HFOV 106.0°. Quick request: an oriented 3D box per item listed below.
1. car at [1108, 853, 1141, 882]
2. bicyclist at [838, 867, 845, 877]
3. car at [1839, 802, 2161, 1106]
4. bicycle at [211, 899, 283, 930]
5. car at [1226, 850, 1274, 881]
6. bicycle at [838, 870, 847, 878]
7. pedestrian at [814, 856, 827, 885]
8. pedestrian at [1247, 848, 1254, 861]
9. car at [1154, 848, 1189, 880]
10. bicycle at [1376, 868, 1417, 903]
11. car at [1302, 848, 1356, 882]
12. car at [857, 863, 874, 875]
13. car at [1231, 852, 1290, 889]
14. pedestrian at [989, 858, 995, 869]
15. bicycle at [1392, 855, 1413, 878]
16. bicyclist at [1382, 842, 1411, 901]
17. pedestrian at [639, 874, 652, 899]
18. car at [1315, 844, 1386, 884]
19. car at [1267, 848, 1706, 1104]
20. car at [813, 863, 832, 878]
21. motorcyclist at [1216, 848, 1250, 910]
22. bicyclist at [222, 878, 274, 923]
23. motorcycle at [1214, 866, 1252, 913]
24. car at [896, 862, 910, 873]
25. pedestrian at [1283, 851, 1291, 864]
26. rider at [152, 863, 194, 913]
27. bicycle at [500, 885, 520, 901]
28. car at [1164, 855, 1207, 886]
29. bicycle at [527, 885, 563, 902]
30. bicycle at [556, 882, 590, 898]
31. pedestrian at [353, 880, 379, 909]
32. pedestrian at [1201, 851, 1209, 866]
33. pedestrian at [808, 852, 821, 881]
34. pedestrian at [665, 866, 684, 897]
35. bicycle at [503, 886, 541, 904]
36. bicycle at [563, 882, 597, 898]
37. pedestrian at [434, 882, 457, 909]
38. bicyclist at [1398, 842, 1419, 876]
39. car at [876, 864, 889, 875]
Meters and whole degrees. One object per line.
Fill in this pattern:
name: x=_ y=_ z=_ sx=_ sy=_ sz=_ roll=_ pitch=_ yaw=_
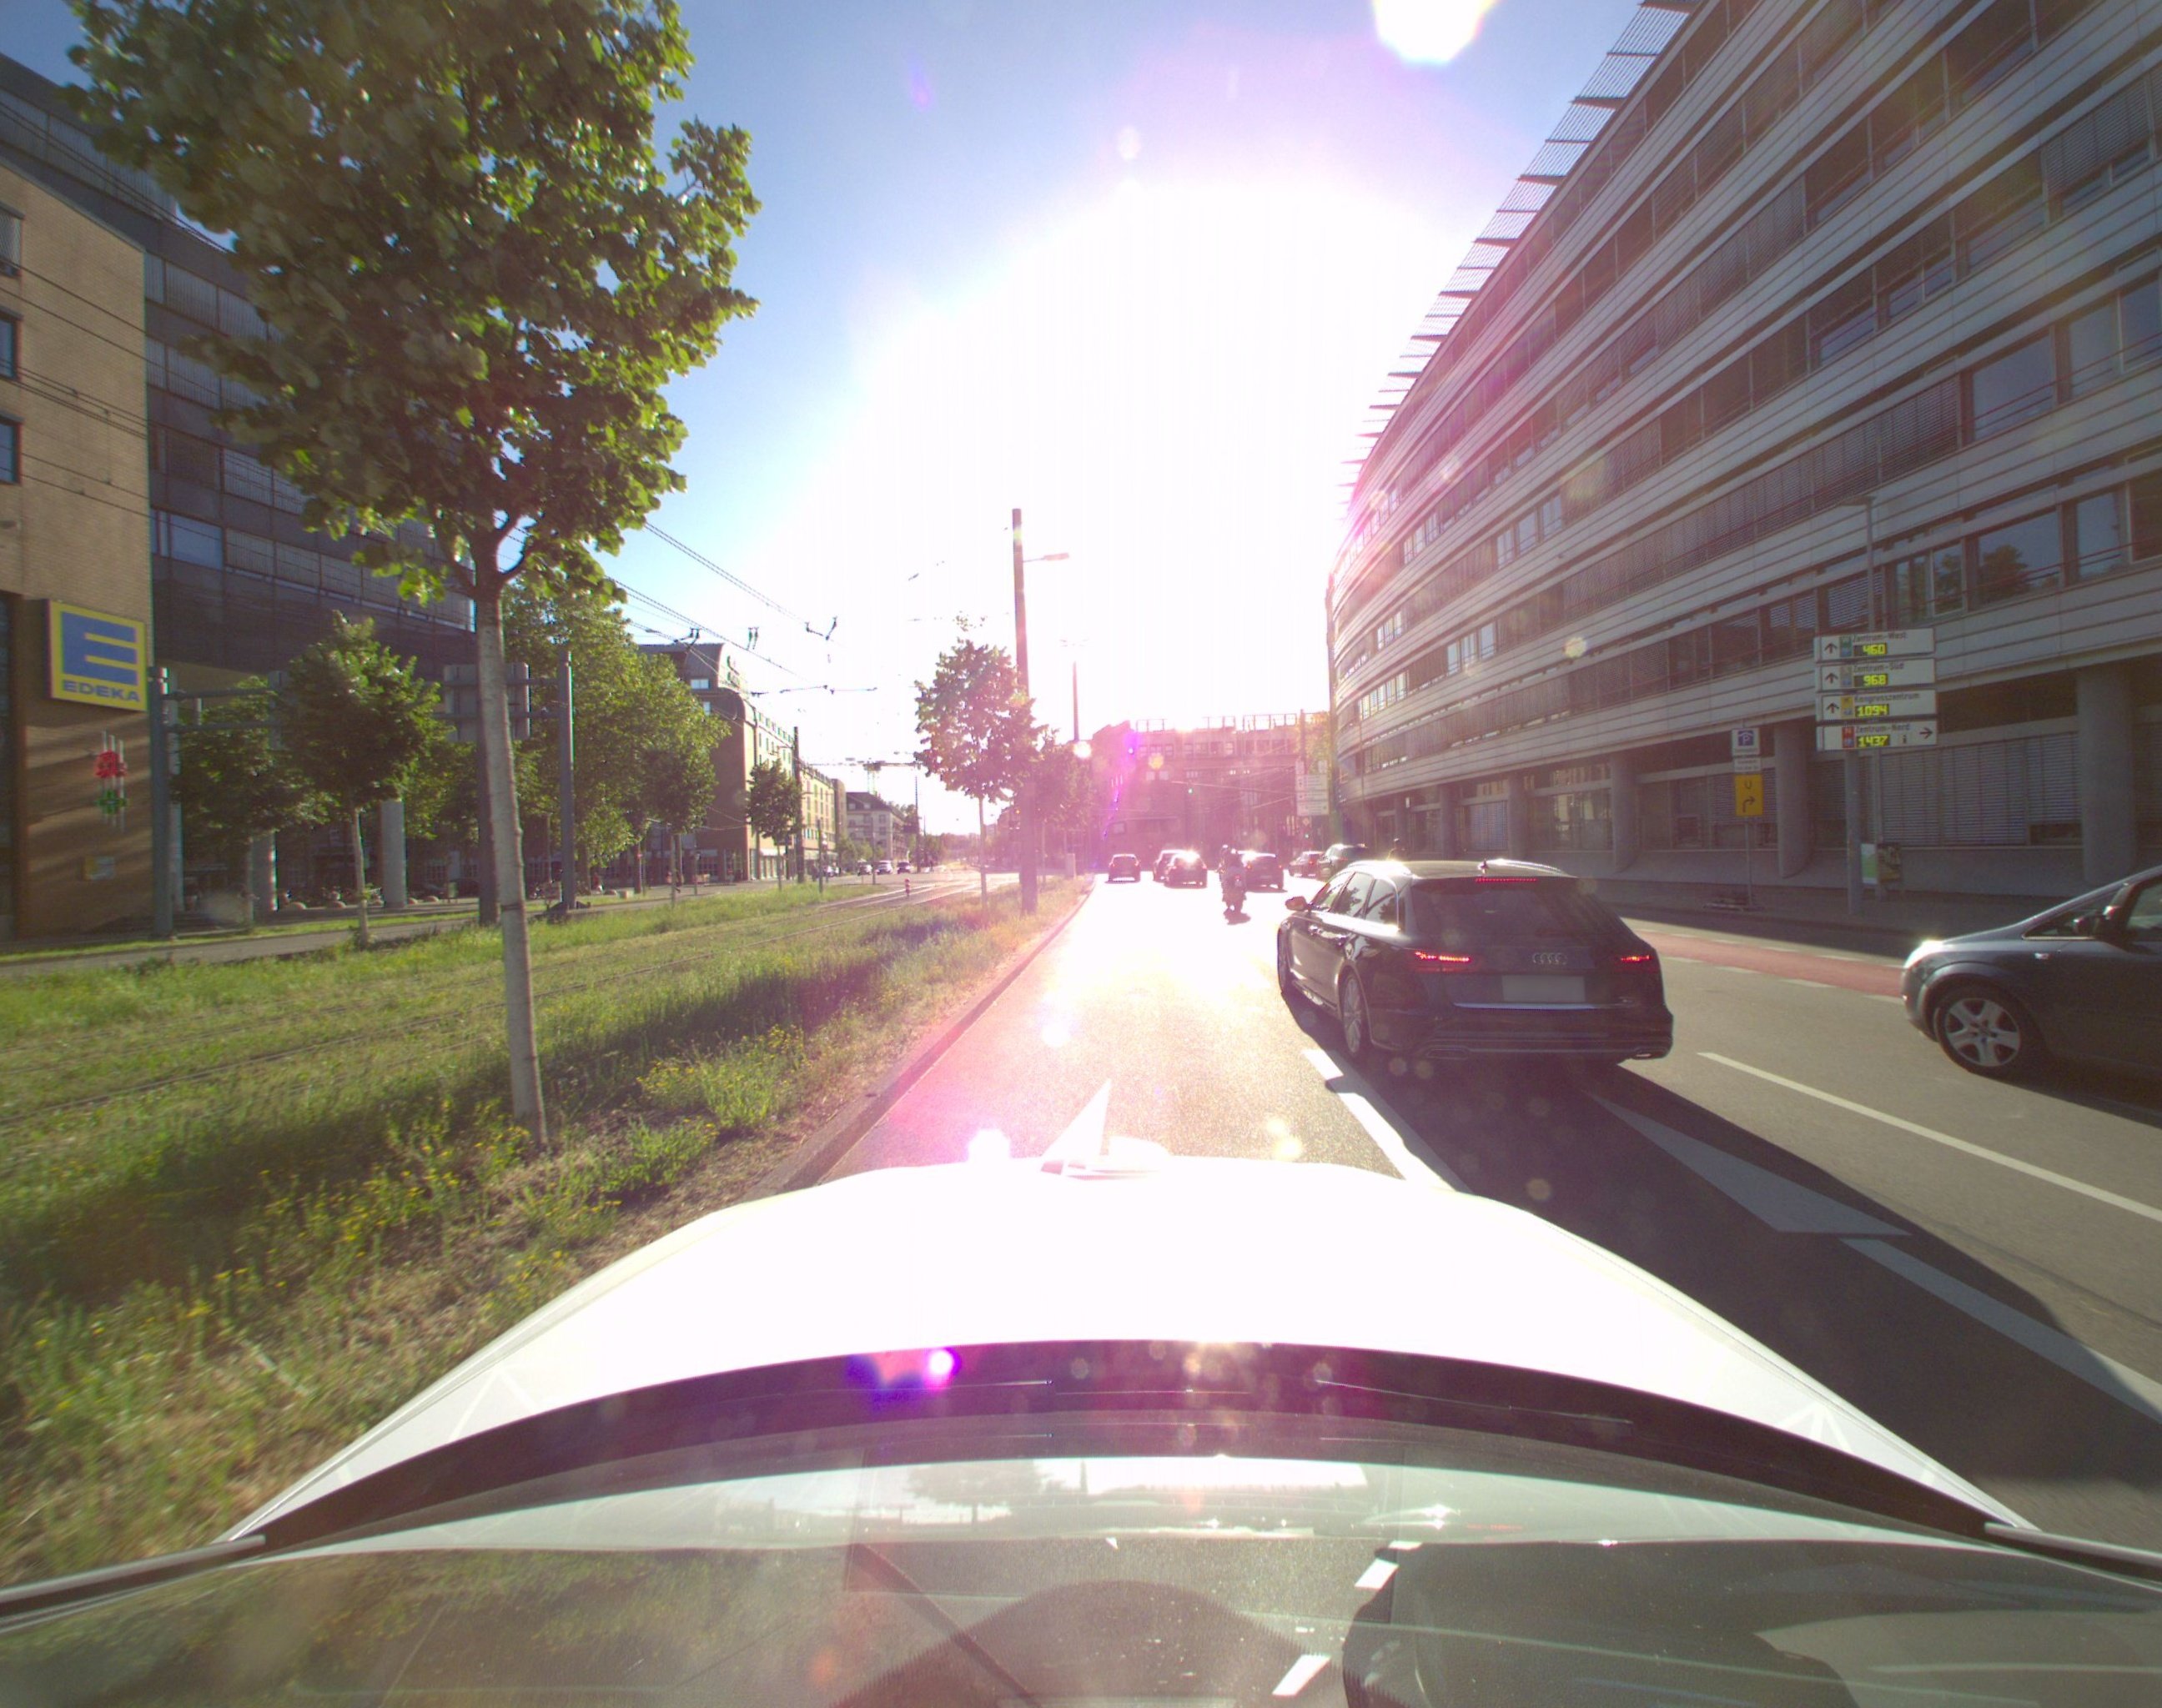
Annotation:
car: x=2.401 y=0.711 z=44.682 sx=1.642 sy=1.433 sz=4.003 roll=-2 pitch=0 yaw=3
bicyclist: x=-32.635 y=2.437 z=110.913 sx=0.756 sy=1.375 sz=0.949 roll=-2 pitch=0 yaw=-5
car: x=6.602 y=0.511 z=4.026 sx=1.681 sy=1.629 sz=4.466 roll=-2 pitch=0 yaw=3
bicycle: x=-28.582 y=2.071 z=27.955 sx=0.496 sy=0.910 sz=1.888 roll=-2 pitch=0 yaw=0
car: x=8.520 y=0.569 z=41.358 sx=1.800 sy=1.457 sz=4.003 roll=-1 pitch=0 yaw=3
bicycle: x=-32.688 y=2.734 z=111.499 sx=0.649 sy=1.085 sz=2.921 roll=-2 pitch=0 yaw=-6
pedestrian: x=-16.978 y=1.075 z=53.067 sx=0.562 sy=1.817 sz=0.662 roll=-2 pitch=0 yaw=-4
pedestrian: x=18.478 y=0.047 z=88.824 sx=0.527 sy=1.430 sz=0.598 roll=-2 pitch=0 yaw=2
car: x=4.989 y=0.521 z=45.267 sx=1.730 sy=1.651 sz=4.003 roll=-2 pitch=0 yaw=3
bicycle: x=9.920 y=0.958 z=25.662 sx=0.489 sy=0.997 sz=2.330 roll=-2 pitch=0 yaw=3
car: x=13.076 y=0.559 z=43.154 sx=1.983 sy=1.651 sz=4.007 roll=-2 pitch=0 yaw=6
car: x=-31.175 y=2.213 z=117.952 sx=1.994 sy=1.596 sz=4.720 roll=-2 pitch=0 yaw=-11
car: x=7.567 y=0.677 z=34.633 sx=1.800 sy=1.457 sz=4.003 roll=-1 pitch=0 yaw=3
pedestrian: x=-13.438 y=1.494 z=122.884 sx=0.742 sy=1.640 sz=0.765 roll=-2 pitch=0 yaw=-11
bicycle: x=15.335 y=0.579 z=38.869 sx=0.501 sy=1.058 sz=1.706 roll=-4 pitch=-1 yaw=10
bicyclist: x=9.916 y=0.544 z=25.598 sx=0.574 sy=1.791 sz=0.865 roll=-2 pitch=0 yaw=5
pedestrian: x=-35.847 y=2.702 z=67.012 sx=0.663 sy=2.013 sz=0.678 roll=-2 pitch=0 yaw=3
car: x=12.848 y=0.439 z=39.075 sx=1.986 sy=1.750 sz=4.329 roll=-2 pitch=0 yaw=1
car: x=2.887 y=0.710 z=7.030 sx=1.803 sy=1.492 sz=4.500 roll=0 pitch=0 yaw=4
car: x=-36.580 y=2.329 z=115.349 sx=1.994 sy=2.013 sz=3.985 roll=-2 pitch=0 yaw=-11
motorcyclist: x=3.933 y=0.636 z=21.158 sx=0.741 sy=1.530 sz=1.022 roll=-2 pitch=0 yaw=5
bicyclist: x=-28.601 y=1.589 z=27.975 sx=0.676 sy=1.465 sz=1.016 roll=-2 pitch=0 yaw=-1
motorcycle: x=3.962 y=0.907 z=21.357 sx=0.771 sy=1.115 sz=1.972 roll=-2 pitch=0 yaw=5
car: x=-25.609 y=1.903 z=116.935 sx=1.748 sy=1.505 sz=3.860 roll=-2 pitch=0 yaw=-15
pedestrian: x=26.729 y=0.485 z=105.560 sx=0.894 sy=1.617 sz=0.562 roll=-2 pitch=0 yaw=10
rider: x=-33.770 y=1.241 z=30.283 sx=0.715 sy=1.802 sz=0.713 roll=-2 pitch=0 yaw=3
bicycle: x=-34.822 y=2.388 z=49.656 sx=1.748 sy=0.951 sz=0.545 roll=-2 pitch=0 yaw=38
car: x=4.875 y=0.731 z=38.352 sx=1.730 sy=1.349 sz=4.003 roll=-2 pitch=0 yaw=3
bicycle: x=-32.900 y=2.431 z=50.036 sx=1.774 sy=0.951 sz=0.537 roll=-2 pitch=0 yaw=-25
bicycle: x=-32.358 y=2.310 z=51.864 sx=1.763 sy=0.951 sz=0.540 roll=-2 pitch=0 yaw=-5
pedestrian: x=-41.291 y=2.325 z=47.041 sx=0.729 sy=1.645 sz=0.839 roll=-2 pitch=0 yaw=6
pedestrian: x=14.471 y=0.559 z=94.990 sx=0.700 sy=1.759 sz=0.564 roll=-2 pitch=0 yaw=27
pedestrian: x=-17.077 y=0.777 z=52.173 sx=0.630 sy=1.830 sz=0.662 roll=-2 pitch=0 yaw=-4
pedestrian: x=-26.646 y=1.799 z=53.368 sx=0.729 sy=2.014 sz=0.839 roll=-1 pitch=-1 yaw=6
bicycle: x=-33.489 y=2.444 z=48.792 sx=1.767 sy=0.951 sz=0.539 roll=-2 pitch=0 yaw=-13
bicycle: x=-32.353 y=2.313 z=52.623 sx=1.763 sy=0.951 sz=0.540 roll=-2 pitch=0 yaw=-5
pedestrian: x=-38.993 y=2.552 z=49.993 sx=0.729 sy=1.597 sz=0.839 roll=-1 pitch=-1 yaw=6
bicyclist: x=15.645 y=0.236 z=38.889 sx=0.680 sy=1.618 sz=0.994 roll=-2 pitch=0 yaw=9
car: x=-28.681 y=2.178 z=117.720 sx=1.748 sy=1.505 sz=3.860 roll=-2 pitch=0 yaw=-15
